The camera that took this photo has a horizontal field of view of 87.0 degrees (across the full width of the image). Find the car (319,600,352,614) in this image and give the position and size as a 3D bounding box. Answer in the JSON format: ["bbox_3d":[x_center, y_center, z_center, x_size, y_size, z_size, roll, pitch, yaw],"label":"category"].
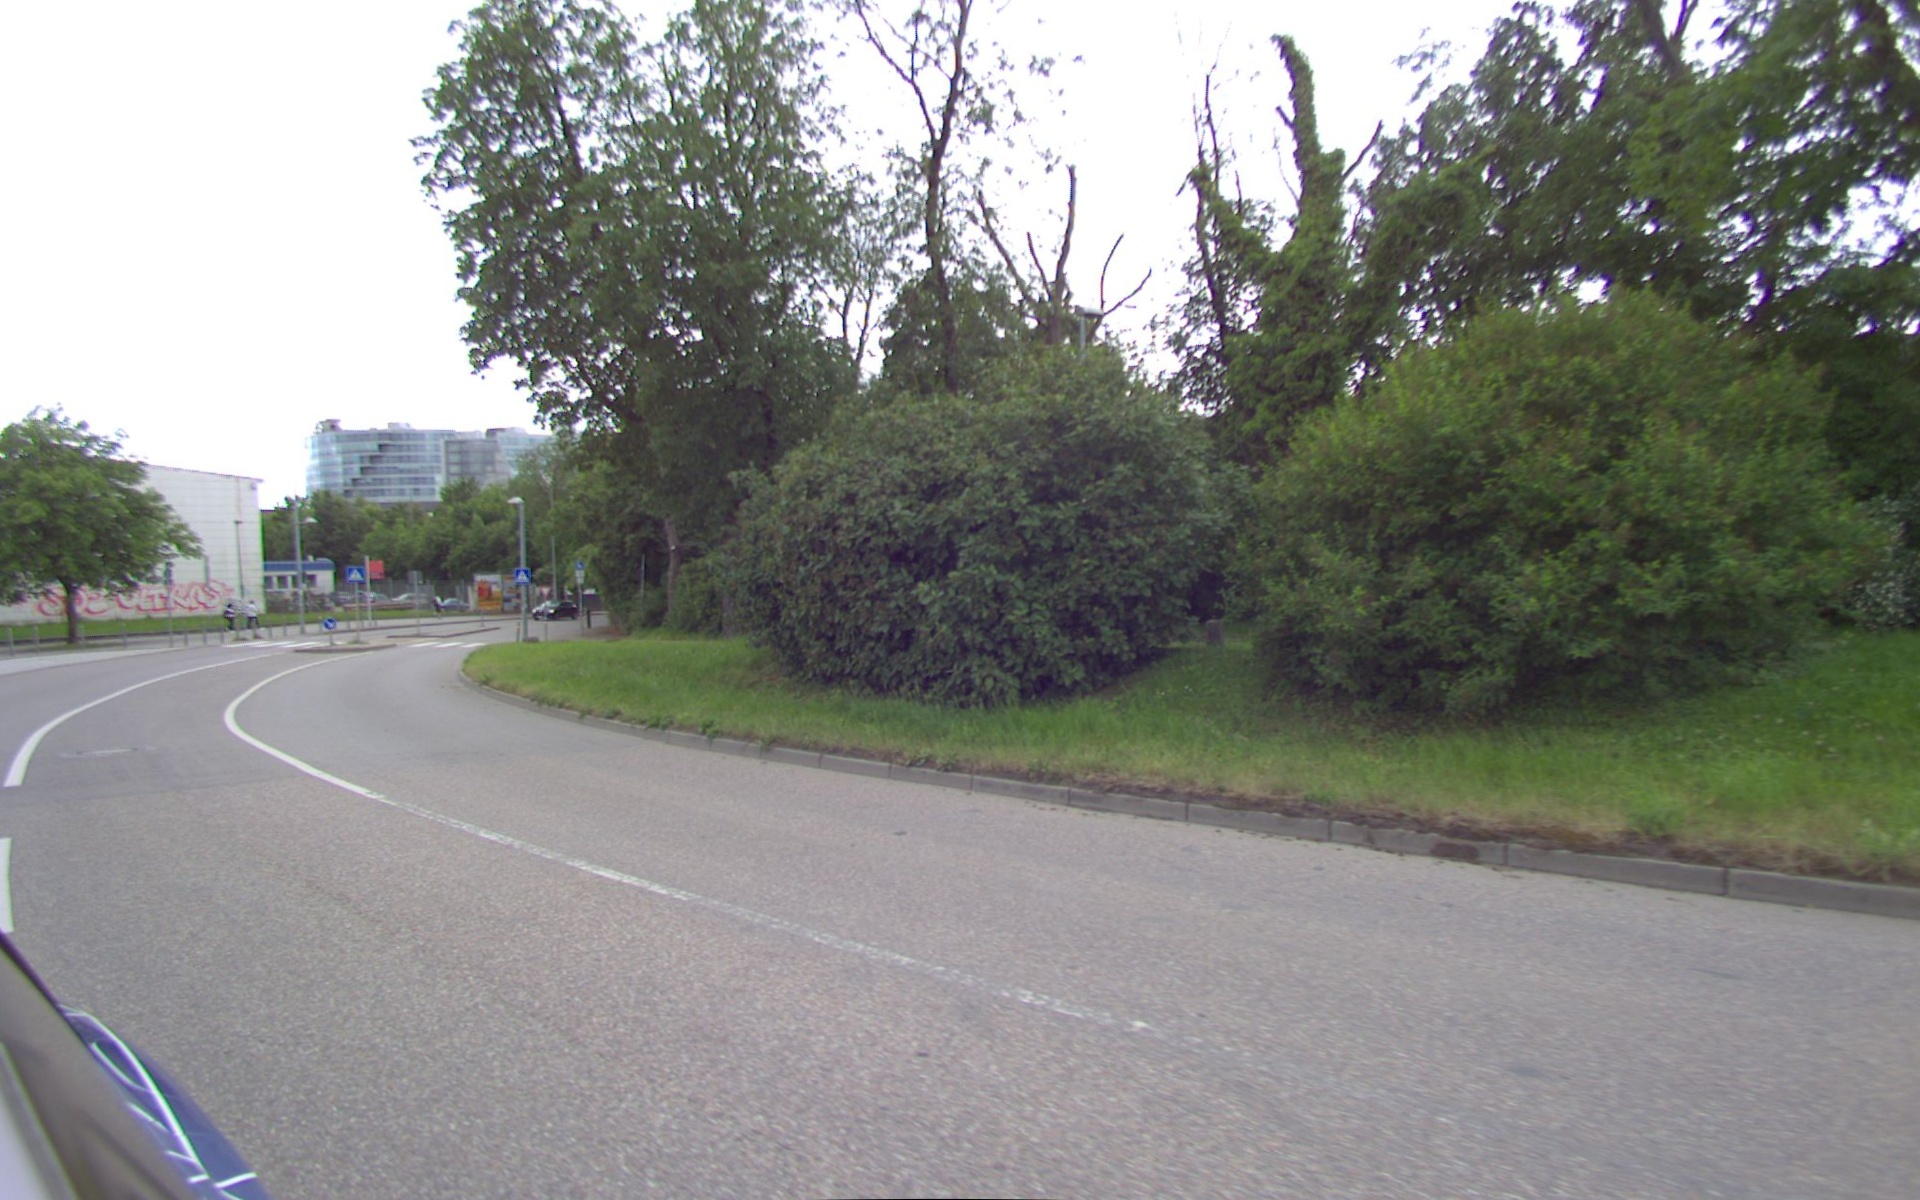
[{"bbox_3d":[-61.862,0.658,100.277,3.675,1.341,1.512,0,0,35],"label":"car"}]

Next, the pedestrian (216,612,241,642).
[{"bbox_3d":[-40.648,1.496,56.240,0.799,1.595,0.794,0,2,30],"label":"pedestrian"}]

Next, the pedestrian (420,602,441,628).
[{"bbox_3d":[-36.347,1.032,69.433,0.846,1.696,0.932,1,3,26],"label":"pedestrian"}]

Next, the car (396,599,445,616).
[{"bbox_3d":[-51.669,0.719,96.937,1.564,1.543,3.760,2,0,39],"label":"car"}]

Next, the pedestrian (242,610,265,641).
[{"bbox_3d":[-39.611,1.429,56.752,0.813,1.715,0.741,0,2,30],"label":"pedestrian"}]

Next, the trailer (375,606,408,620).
[{"bbox_3d":[-49.380,1.136,87.911,2.640,1.146,1.823,0,1,44],"label":"trailer"}]

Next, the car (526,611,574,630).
[{"bbox_3d":[-29.585,1.458,73.114,1.459,1.261,3.350,2,0,18],"label":"car"}]

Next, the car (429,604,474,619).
[{"bbox_3d":[-46.139,1.060,91.776,1.470,1.261,3.325,1,0,39],"label":"car"}]
